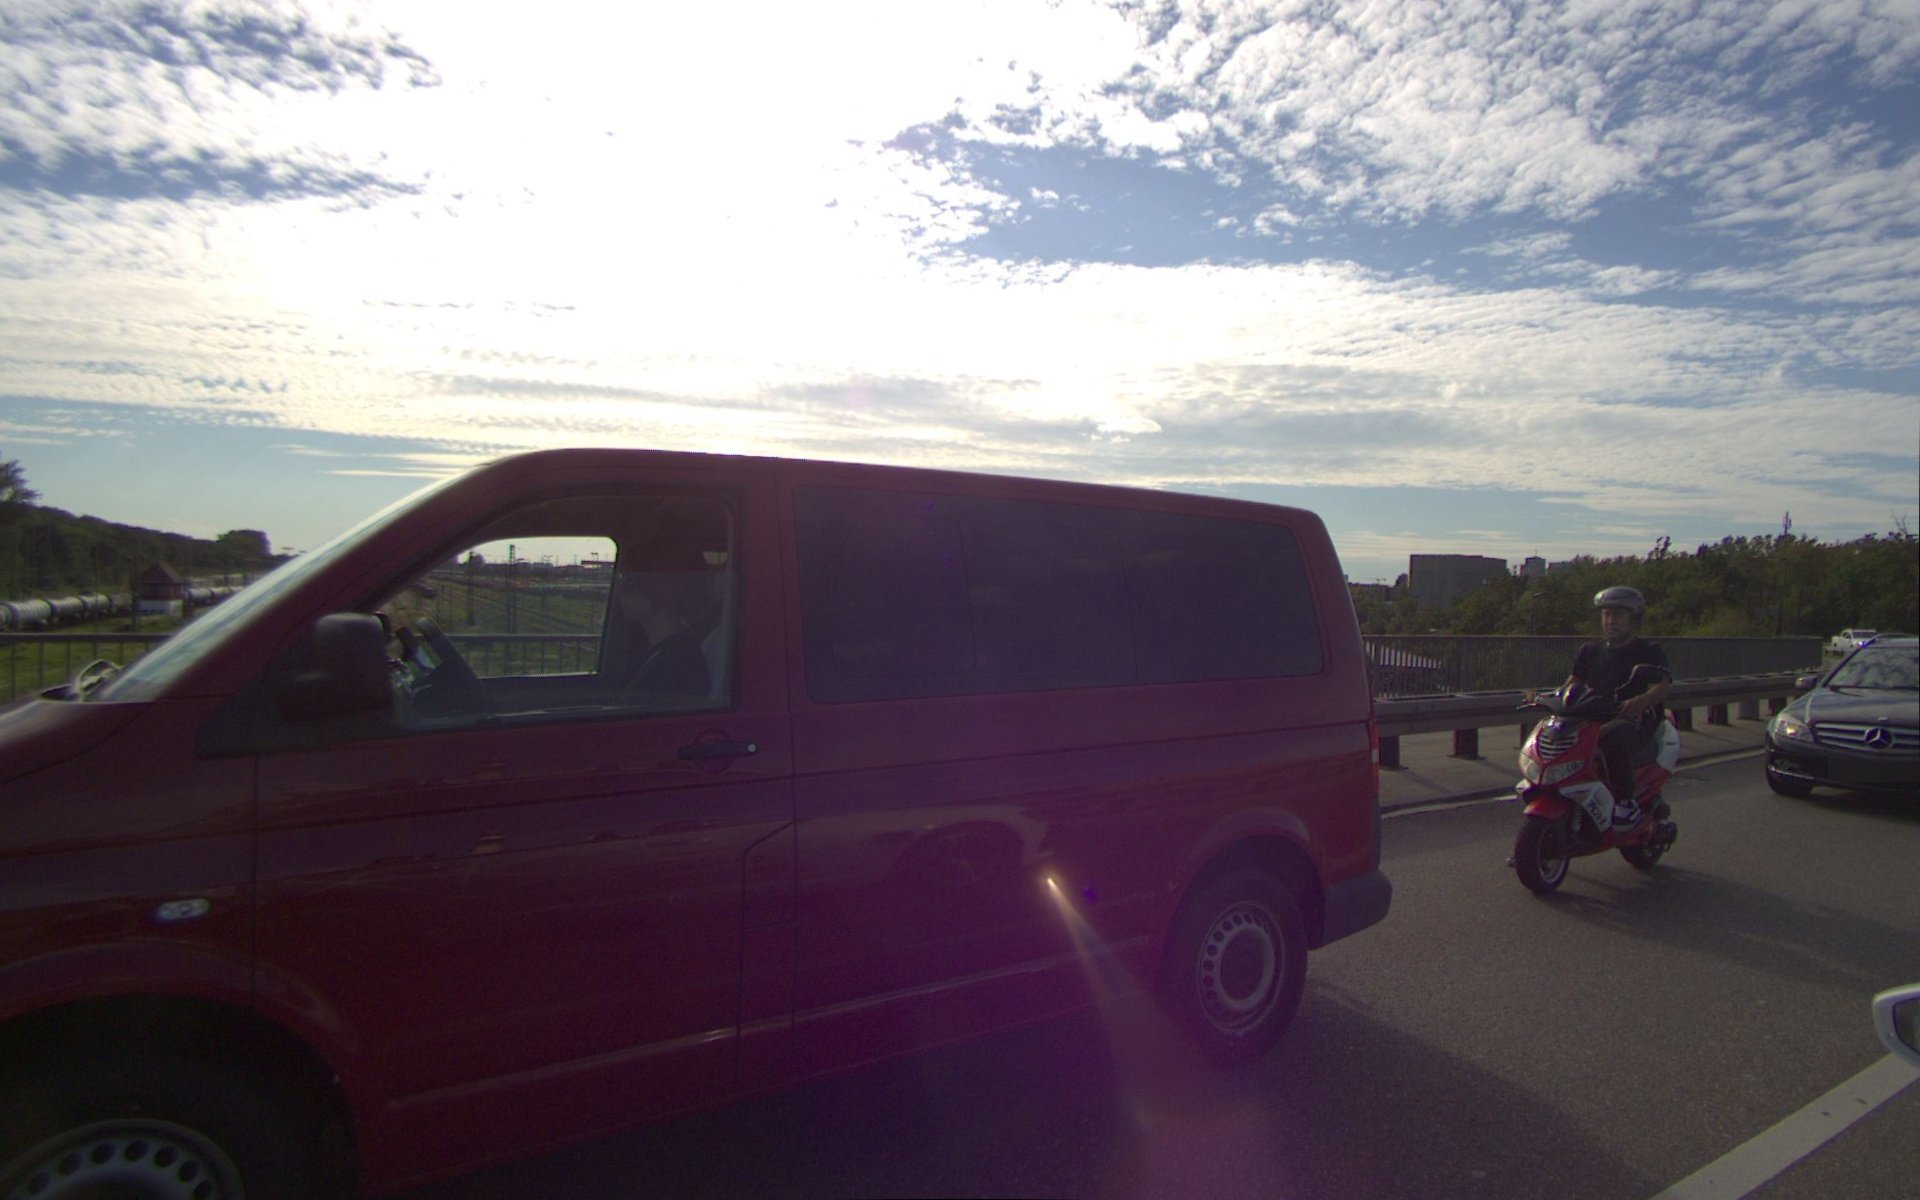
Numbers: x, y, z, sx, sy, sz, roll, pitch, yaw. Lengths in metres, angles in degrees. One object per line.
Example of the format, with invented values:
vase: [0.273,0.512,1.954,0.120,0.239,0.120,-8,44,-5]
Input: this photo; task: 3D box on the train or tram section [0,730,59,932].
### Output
train or tram section: [-25.770,6.439,24.179,3.062,4.775,16.604,2,-1,-32]

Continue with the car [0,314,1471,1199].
car: [-0.597,0.544,3.450,4.812,1.928,1.997,1,-1,-31]

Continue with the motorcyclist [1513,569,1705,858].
motorcyclist: [3.867,0.632,5.989,0.926,1.574,0.617,1,-1,-30]

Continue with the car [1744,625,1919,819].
car: [9.076,1.001,9.230,4.474,1.485,1.820,2,-2,-36]

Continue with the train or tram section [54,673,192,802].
train or tram section: [-43.140,6.677,52.417,3.062,4.775,16.604,2,-1,-32]

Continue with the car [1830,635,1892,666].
car: [56.357,3.118,62.917,1.873,1.834,5.393,0,-1,31]

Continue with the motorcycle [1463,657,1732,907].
motorcycle: [3.804,0.986,5.950,1.771,1.269,0.617,1,-1,-31]

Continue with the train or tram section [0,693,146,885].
train or tram section: [-34.469,6.558,38.329,3.062,4.775,16.604,2,-1,-32]

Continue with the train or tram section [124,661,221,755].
train or tram section: [-51.831,6.796,66.588,3.062,4.775,16.604,2,-1,-32]
